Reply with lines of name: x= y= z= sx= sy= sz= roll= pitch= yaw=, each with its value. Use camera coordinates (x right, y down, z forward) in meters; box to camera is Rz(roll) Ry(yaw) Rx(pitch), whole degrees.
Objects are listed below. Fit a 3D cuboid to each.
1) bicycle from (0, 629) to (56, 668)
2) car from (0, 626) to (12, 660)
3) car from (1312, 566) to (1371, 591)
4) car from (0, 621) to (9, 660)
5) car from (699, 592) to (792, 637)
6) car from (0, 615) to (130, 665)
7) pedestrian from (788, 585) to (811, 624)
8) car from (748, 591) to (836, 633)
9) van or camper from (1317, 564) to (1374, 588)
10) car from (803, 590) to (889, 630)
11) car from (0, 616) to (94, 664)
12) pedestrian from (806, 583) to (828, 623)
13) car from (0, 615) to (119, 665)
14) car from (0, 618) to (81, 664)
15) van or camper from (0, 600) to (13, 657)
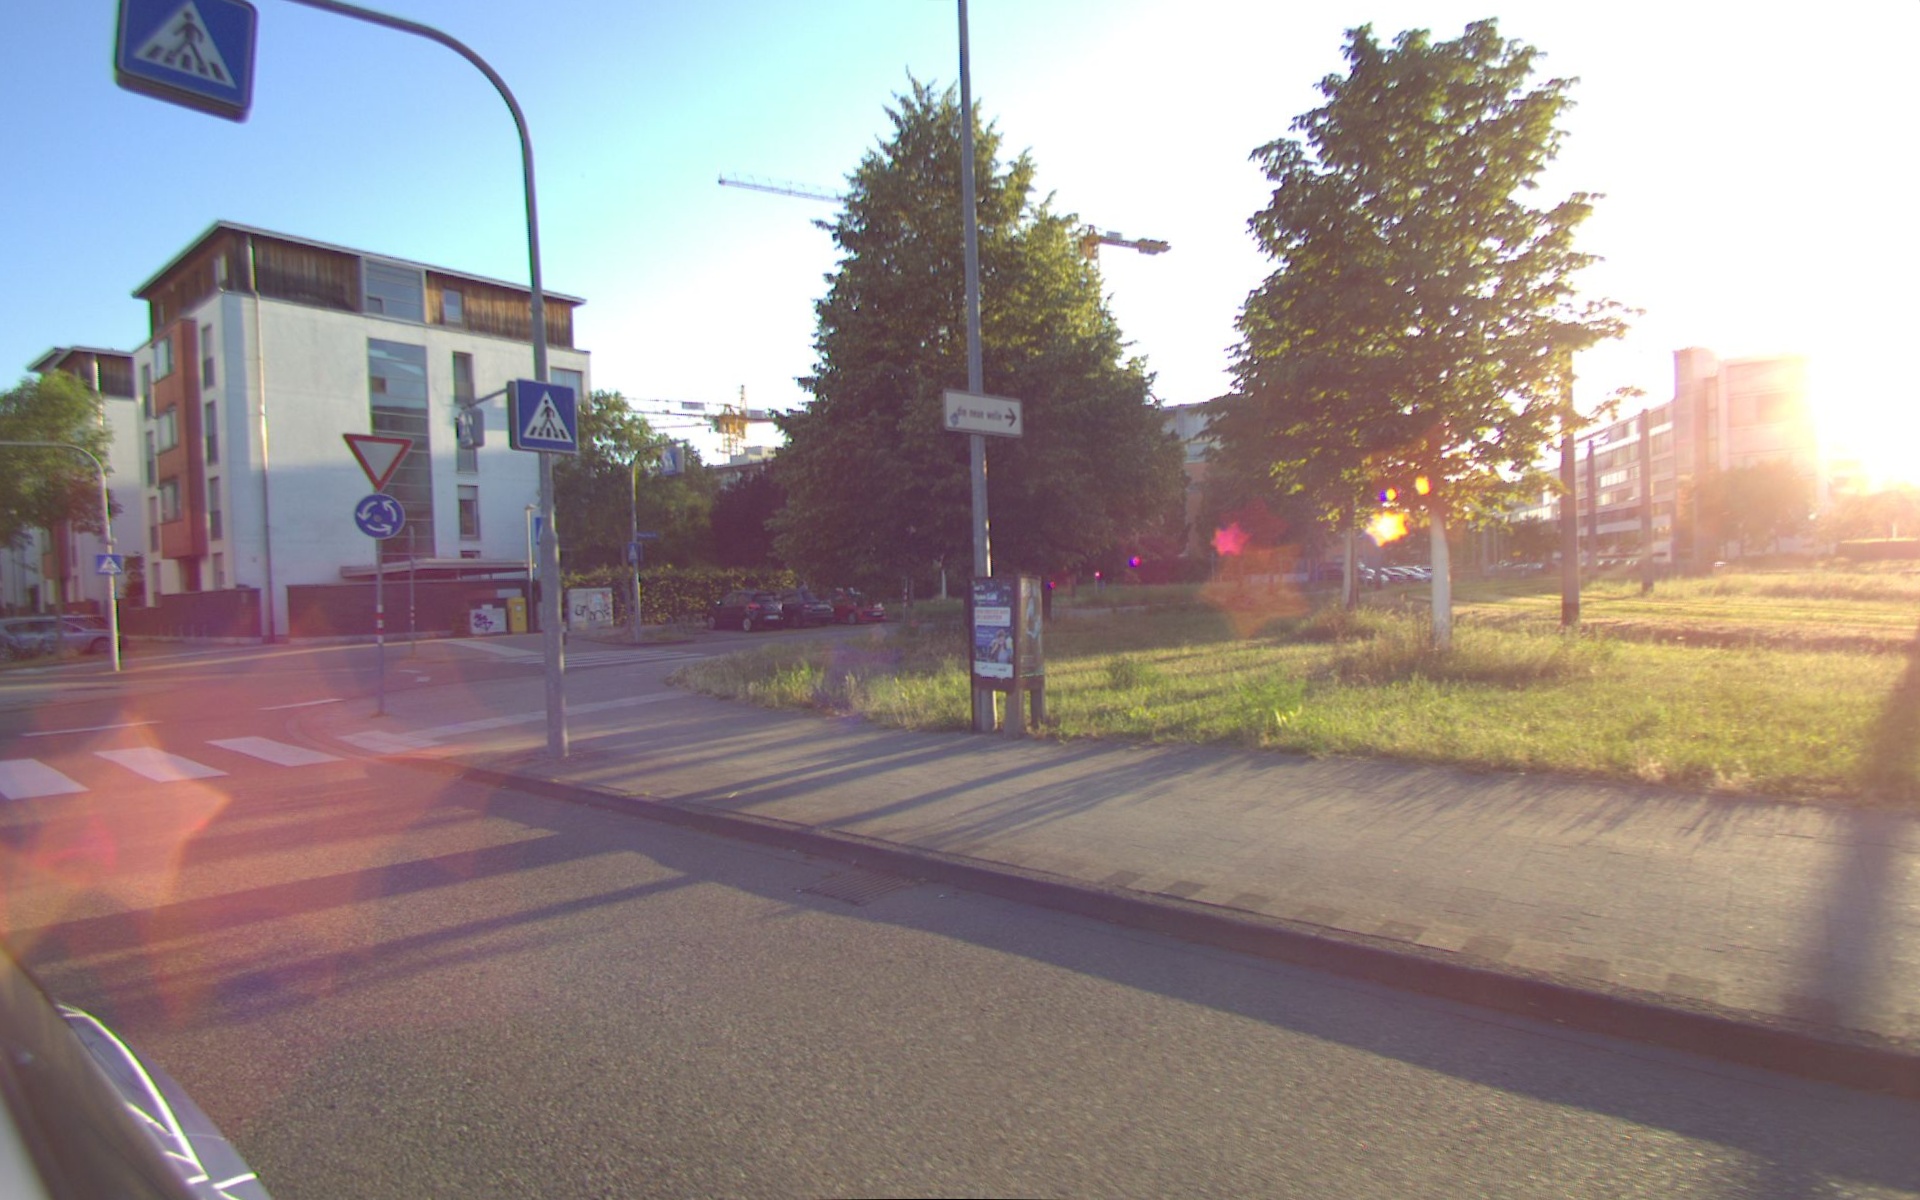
bicycle: x=-29.982 y=1.548 z=32.108 sx=0.566 sy=1.074 sz=1.801 roll=-3 pitch=3 yaw=37
car: x=-45.311 y=2.057 z=45.316 sx=1.720 sy=1.526 sz=3.875 roll=-3 pitch=1 yaw=35
car: x=29.377 y=-1.637 z=78.013 sx=3.872 sy=1.707 sz=1.682 roll=-3 pitch=0 yaw=37
car: x=-43.804 y=1.886 z=43.549 sx=1.720 sy=1.723 sz=3.875 roll=-3 pitch=1 yaw=35
car: x=-8.069 y=0.544 z=37.978 sx=3.409 sy=1.533 sz=1.668 roll=-1 pitch=1 yaw=42
car: x=-31.491 y=1.392 z=34.801 sx=1.678 sy=1.468 sz=4.241 roll=-3 pitch=1 yaw=37
pedestrian: x=-6.962 y=0.201 z=43.974 sx=0.651 sy=1.611 sz=0.709 roll=-2 pitch=2 yaw=18
car: x=-6.565 y=0.480 z=39.441 sx=3.409 sy=1.511 sz=1.573 roll=-1 pitch=1 yaw=42
van or camper: x=30.644 y=-1.921 z=80.494 sx=3.876 sy=1.707 sz=1.810 roll=-3 pitch=0 yaw=40
car: x=-4.663 y=0.401 z=41.141 sx=3.409 sy=1.511 sz=1.573 roll=-1 pitch=1 yaw=42
car: x=-35.741 y=1.592 z=37.965 sx=1.711 sy=1.566 sz=4.722 roll=-3 pitch=2 yaw=43
pedestrian: x=-6.202 y=0.112 z=43.876 sx=0.619 sy=1.679 sz=0.739 roll=-2 pitch=2 yaw=19
car: x=-33.478 y=1.497 z=36.250 sx=1.708 sy=1.489 sz=4.858 roll=-3 pitch=2 yaw=37
car: x=-37.620 y=1.703 z=39.449 sx=1.755 sy=1.596 sz=4.707 roll=-3 pitch=2 yaw=35
van or camper: x=-55.226 y=1.734 z=54.128 sx=2.437 sy=3.110 sz=6.244 roll=-3 pitch=1 yaw=35
